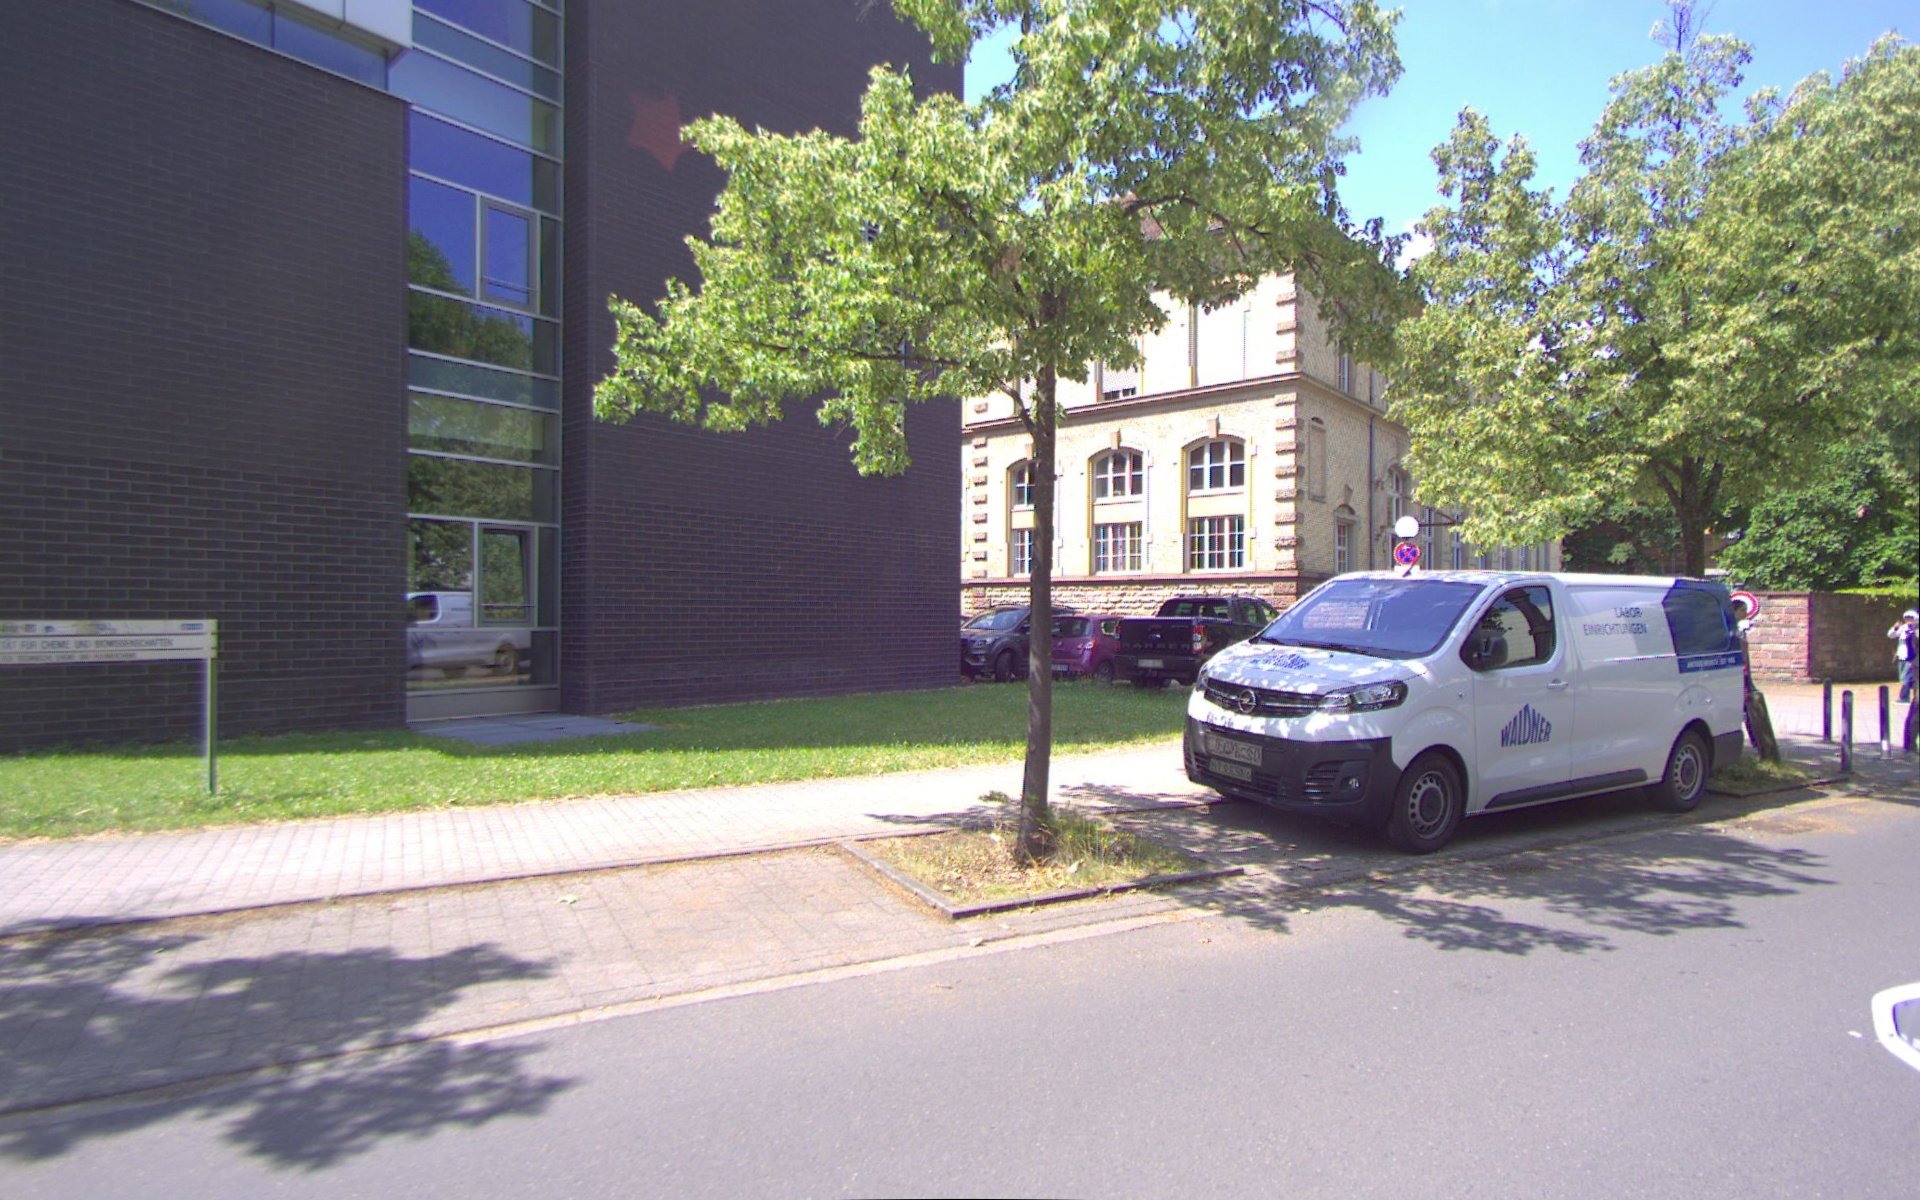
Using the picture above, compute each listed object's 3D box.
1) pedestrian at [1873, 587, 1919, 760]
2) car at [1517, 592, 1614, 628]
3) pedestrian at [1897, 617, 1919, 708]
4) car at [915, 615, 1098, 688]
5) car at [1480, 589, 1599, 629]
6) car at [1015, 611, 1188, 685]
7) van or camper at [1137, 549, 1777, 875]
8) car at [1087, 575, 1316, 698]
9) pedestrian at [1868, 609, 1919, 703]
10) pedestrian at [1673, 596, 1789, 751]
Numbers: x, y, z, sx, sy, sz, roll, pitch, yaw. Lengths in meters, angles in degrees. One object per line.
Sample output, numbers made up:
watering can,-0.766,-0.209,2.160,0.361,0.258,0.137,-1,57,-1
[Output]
pedestrian,10.803,0.806,11.107,0.777,1.882,0.725,1,0,-10
car,29.076,0.482,48.258,3.806,1.643,1.749,0,-1,38
pedestrian,16.550,1.069,17.219,0.574,1.547,0.494,0,0,21
car,1.098,1.040,21.758,1.796,1.341,4.143,3,1,40
car,23.304,0.349,40.568,4.024,1.537,1.755,0,-1,25
car,2.961,0.919,20.474,1.796,1.341,3.750,0,-1,40
van or camper,4.171,0.696,8.147,5.354,1.949,1.945,1,0,-29
car,4.650,0.623,18.713,2.148,1.951,5.163,0,-1,39
pedestrian,17.047,1.005,18.236,0.616,1.685,0.603,0,0,15
pedestrian,8.943,0.830,11.672,0.778,1.735,0.740,1,0,-13
